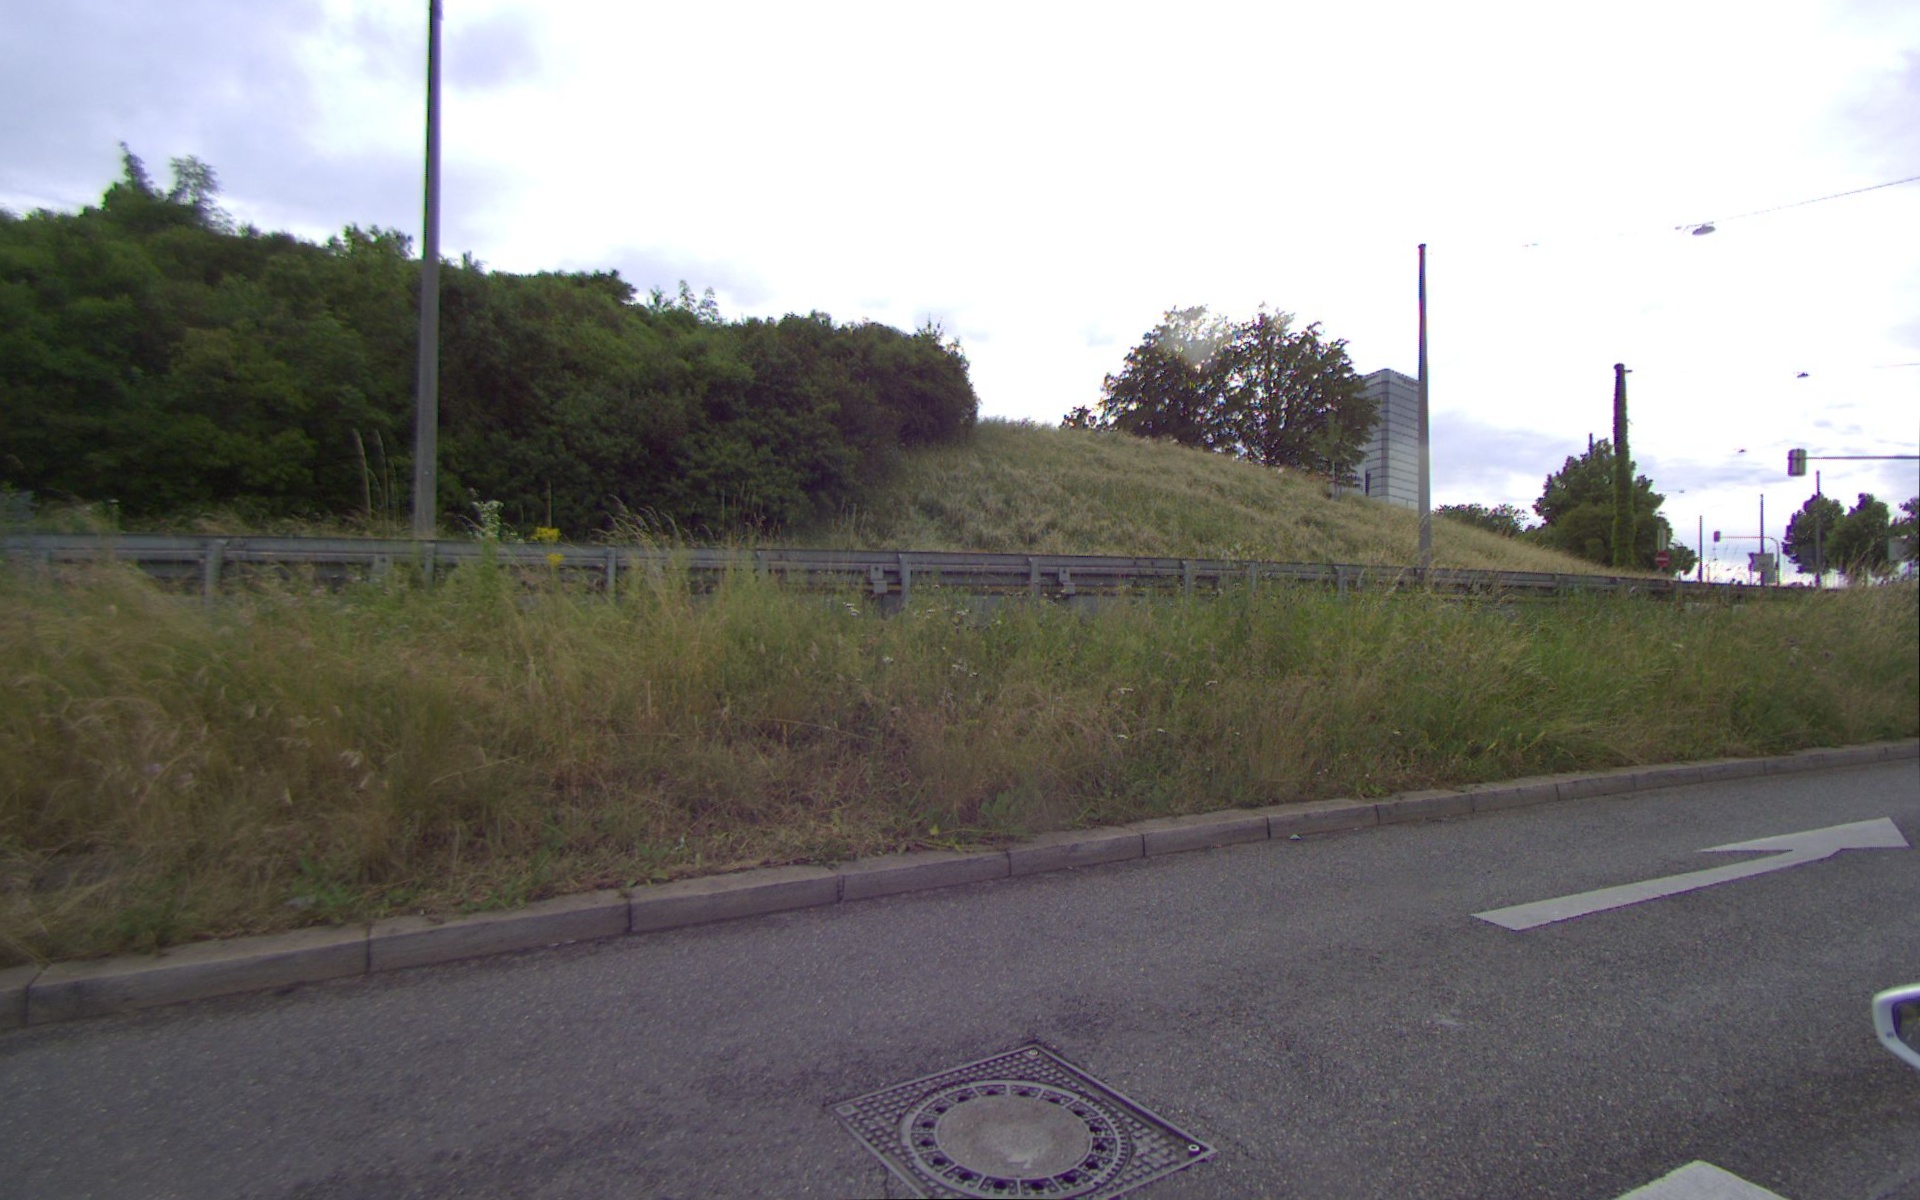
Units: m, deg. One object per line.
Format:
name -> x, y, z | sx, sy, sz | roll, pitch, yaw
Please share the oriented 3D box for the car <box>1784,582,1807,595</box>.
car -> 117.556, -1.590, 141.340 | 1.728, 1.729, 3.727 | 4, 3, 30
